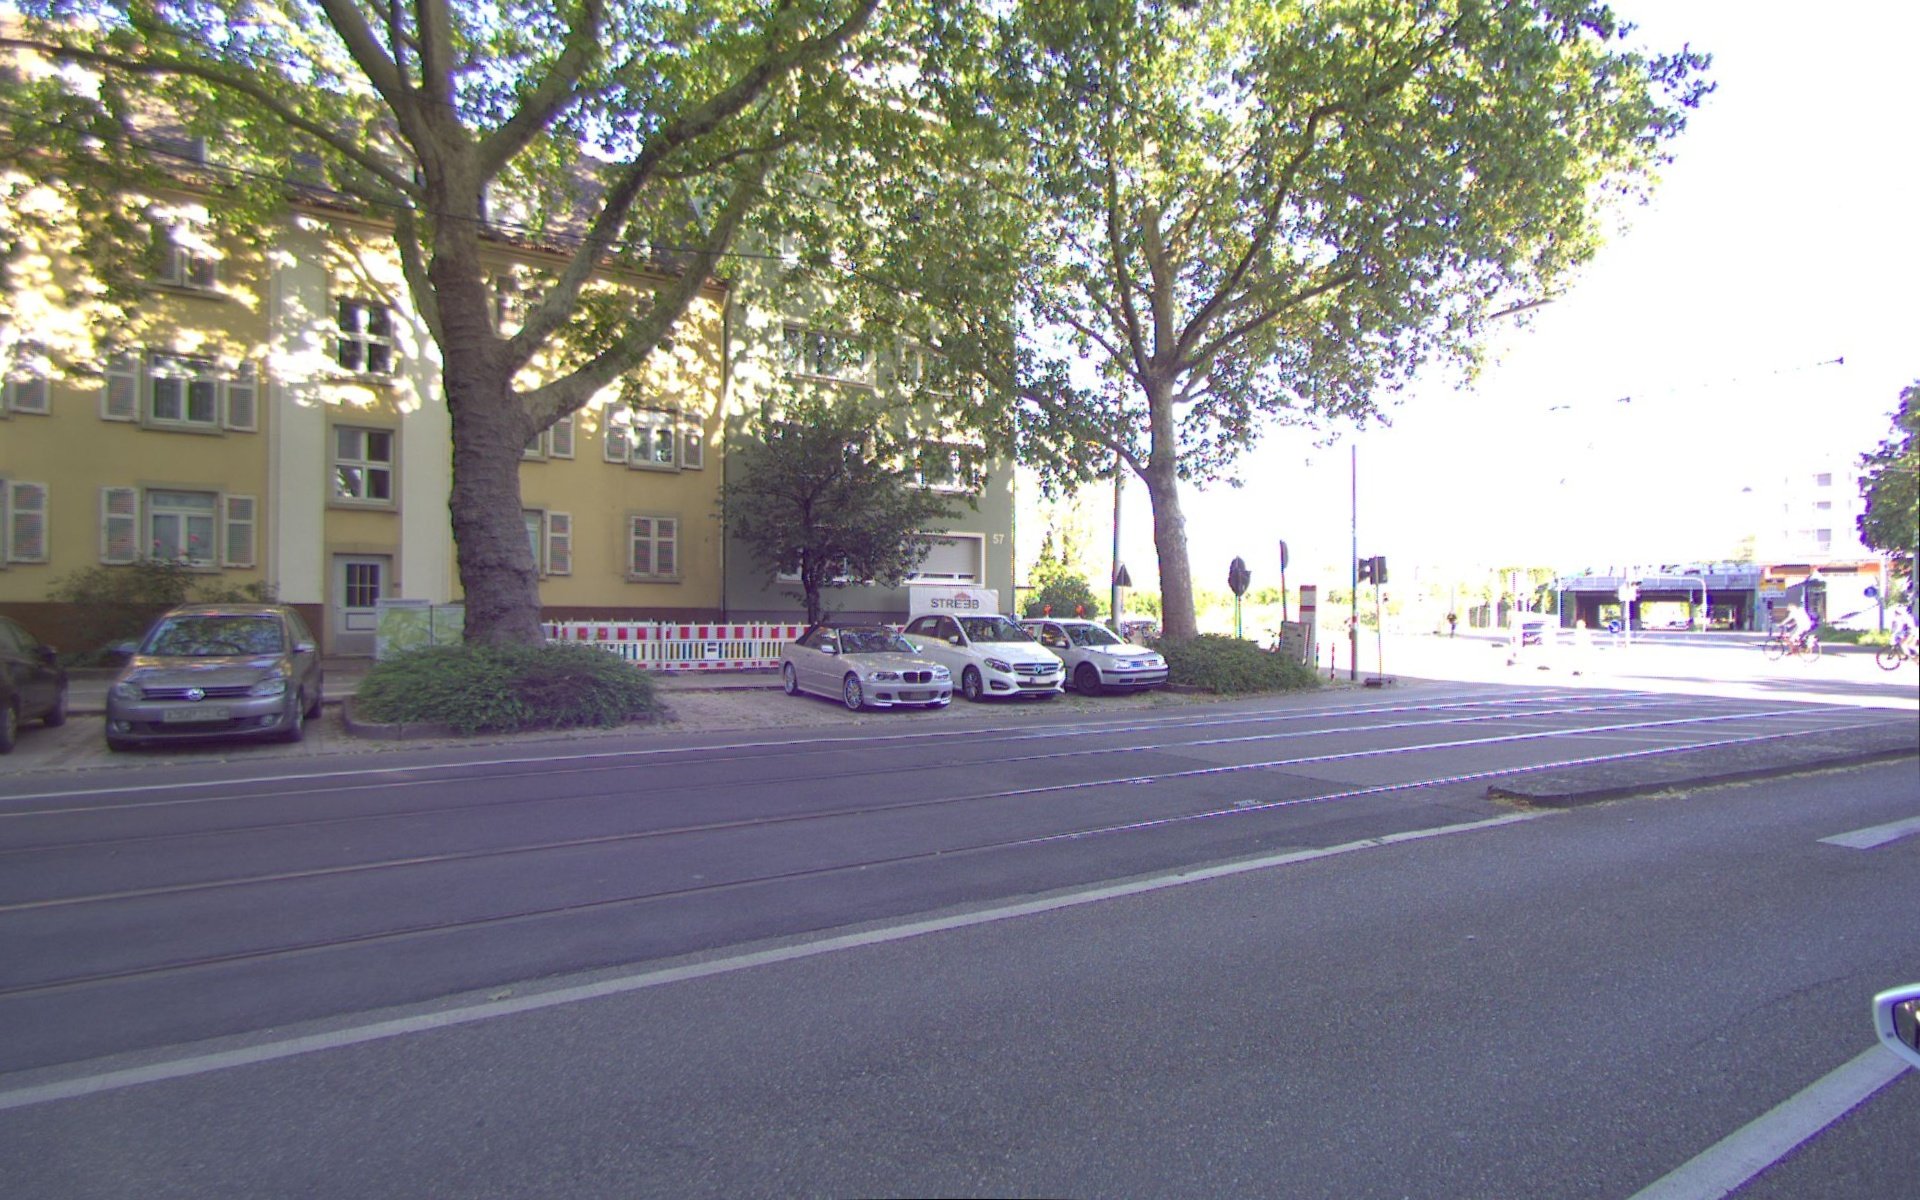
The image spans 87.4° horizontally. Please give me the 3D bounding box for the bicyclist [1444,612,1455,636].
[{"bbox_3d":[32.383,1.590,66.438,0.625,1.584,0.832,0,-1,28],"label":"bicyclist"}]

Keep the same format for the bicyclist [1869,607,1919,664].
[{"bbox_3d":[26.781,0.997,28.654,0.786,1.591,1.009,0,-1,-18],"label":"bicyclist"}]

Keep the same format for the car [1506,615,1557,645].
[{"bbox_3d":[32.426,1.683,56.941,1.803,1.539,3.876,2,1,40],"label":"car"}]

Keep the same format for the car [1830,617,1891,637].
[{"bbox_3d":[84.043,2.533,93.779,4.125,1.829,1.729,-1,-1,40],"label":"car"}]

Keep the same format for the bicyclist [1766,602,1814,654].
[{"bbox_3d":[27.926,0.930,33.799,0.861,1.730,0.926,0,-1,-18],"label":"bicyclist"}]

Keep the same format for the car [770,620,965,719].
[{"bbox_3d":[-1.735,1.095,17.437,1.708,1.386,4.219,1,0,-31],"label":"car"}]

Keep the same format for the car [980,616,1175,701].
[{"bbox_3d":[2.294,1.110,20.826,1.656,1.448,4.490,1,0,-30],"label":"car"}]

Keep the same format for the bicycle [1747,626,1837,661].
[{"bbox_3d":[27.923,1.448,33.754,0.788,1.098,2.292,0,-1,-17],"label":"bicycle"}]

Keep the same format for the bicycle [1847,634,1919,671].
[{"bbox_3d":[26.760,1.495,28.729,0.662,0.997,2.057,1,-1,-18],"label":"bicycle"}]

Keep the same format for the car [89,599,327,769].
[{"bbox_3d":[-9.043,0.861,12.428,1.793,1.627,4.169,1,1,-29],"label":"car"}]

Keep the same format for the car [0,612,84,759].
[{"bbox_3d":[-11.400,0.882,11.299,1.723,1.448,3.545,1,0,-31],"label":"car"}]

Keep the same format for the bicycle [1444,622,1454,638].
[{"bbox_3d":[32.339,1.976,66.423,0.572,1.075,2.039,0,-1,28],"label":"bicycle"}]

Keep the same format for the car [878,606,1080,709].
[{"bbox_3d":[0.215,0.995,19.481,1.777,1.640,4.587,1,1,-30],"label":"car"}]

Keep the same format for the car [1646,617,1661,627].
[{"bbox_3d":[130.600,4.055,189.150,2.183,1.847,4.134,0,-1,34],"label":"car"}]
